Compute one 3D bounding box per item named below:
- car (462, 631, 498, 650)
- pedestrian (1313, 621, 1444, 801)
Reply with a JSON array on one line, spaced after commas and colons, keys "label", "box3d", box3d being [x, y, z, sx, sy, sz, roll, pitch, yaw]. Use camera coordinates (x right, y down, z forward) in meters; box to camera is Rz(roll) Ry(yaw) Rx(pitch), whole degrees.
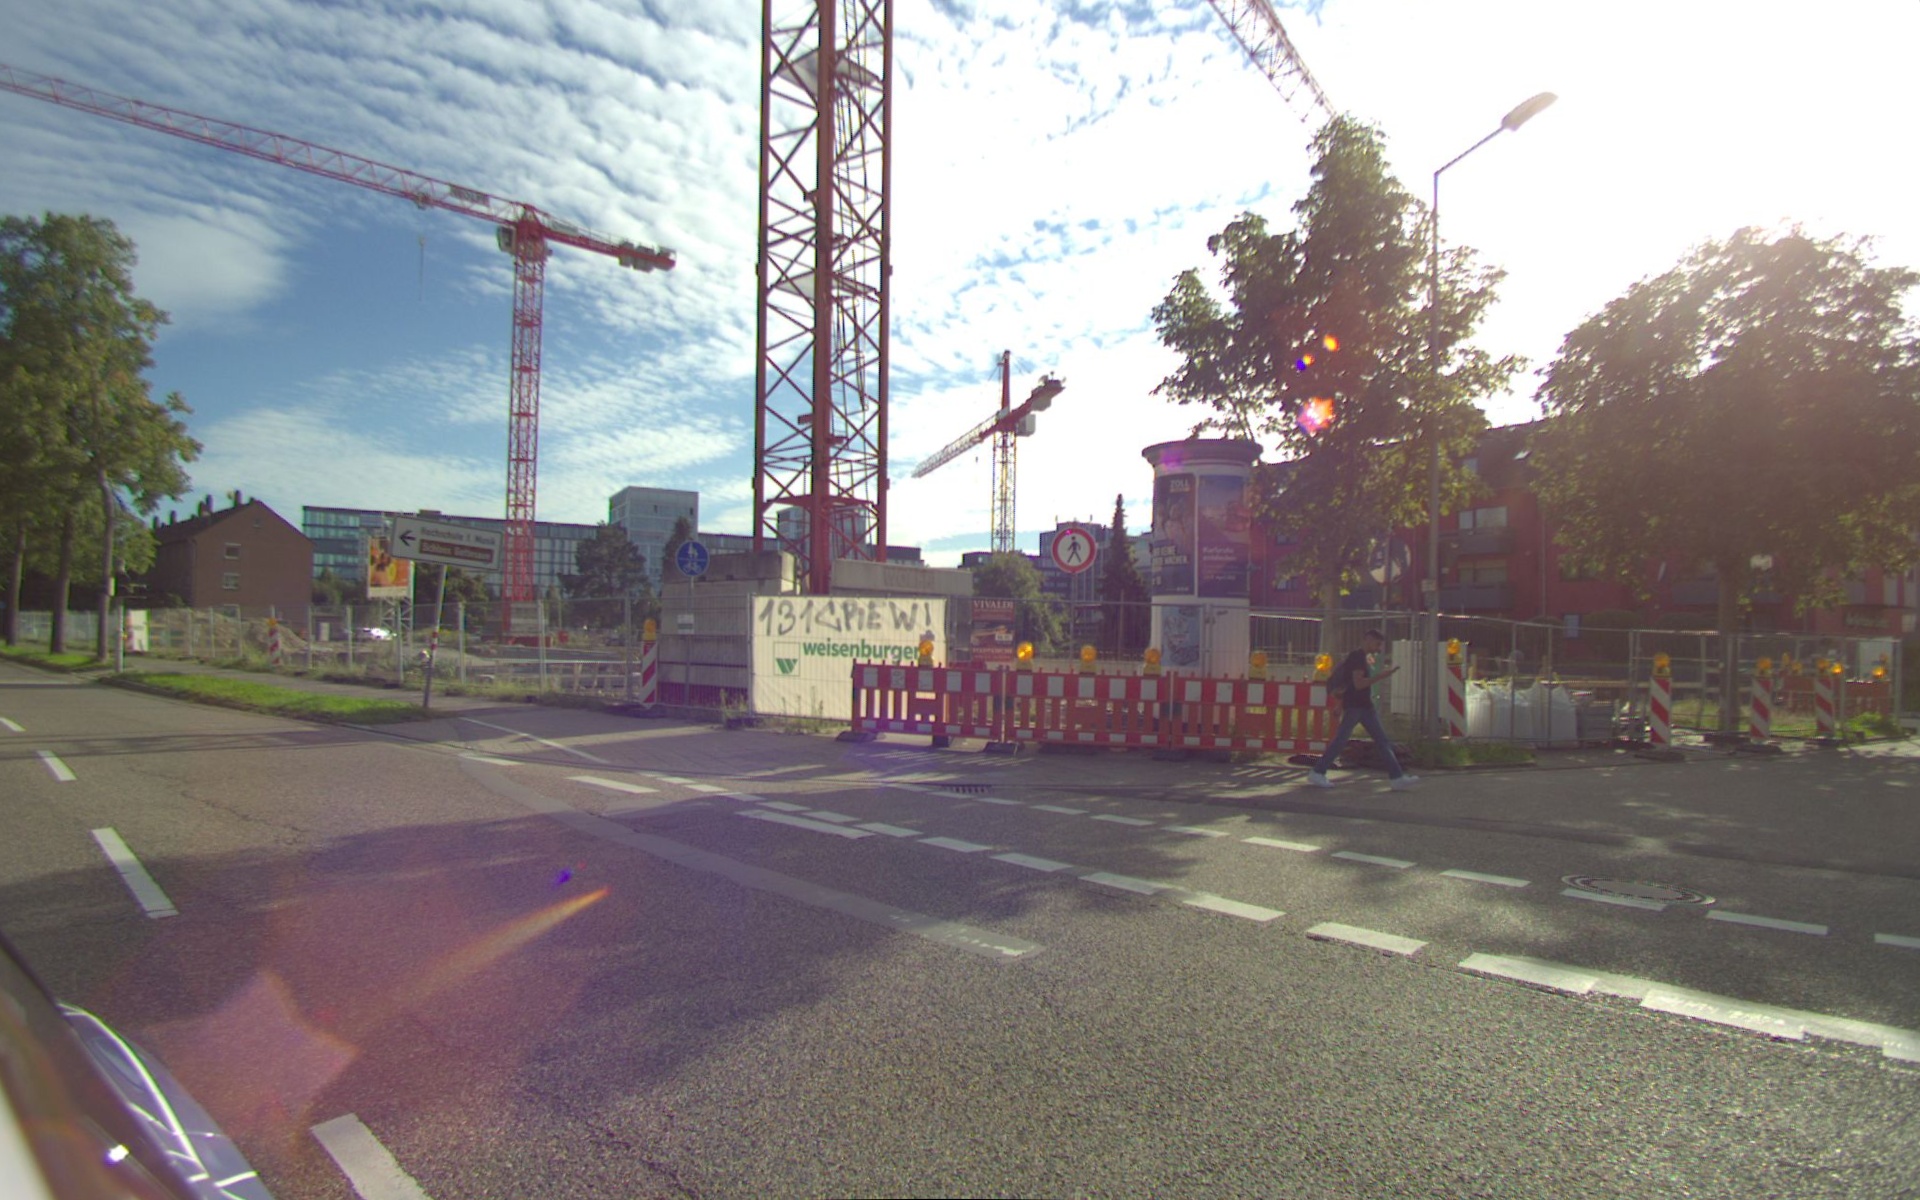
[{"label": "car", "box3d": [-51.769, 4.349, 109.071, 3.977, 1.821, 1.796, 1, -1, 36]}, {"label": "pedestrian", "box3d": [4.436, 1.116, 10.703, 1.173, 1.741, 1.000, 1, -2, 29]}]
